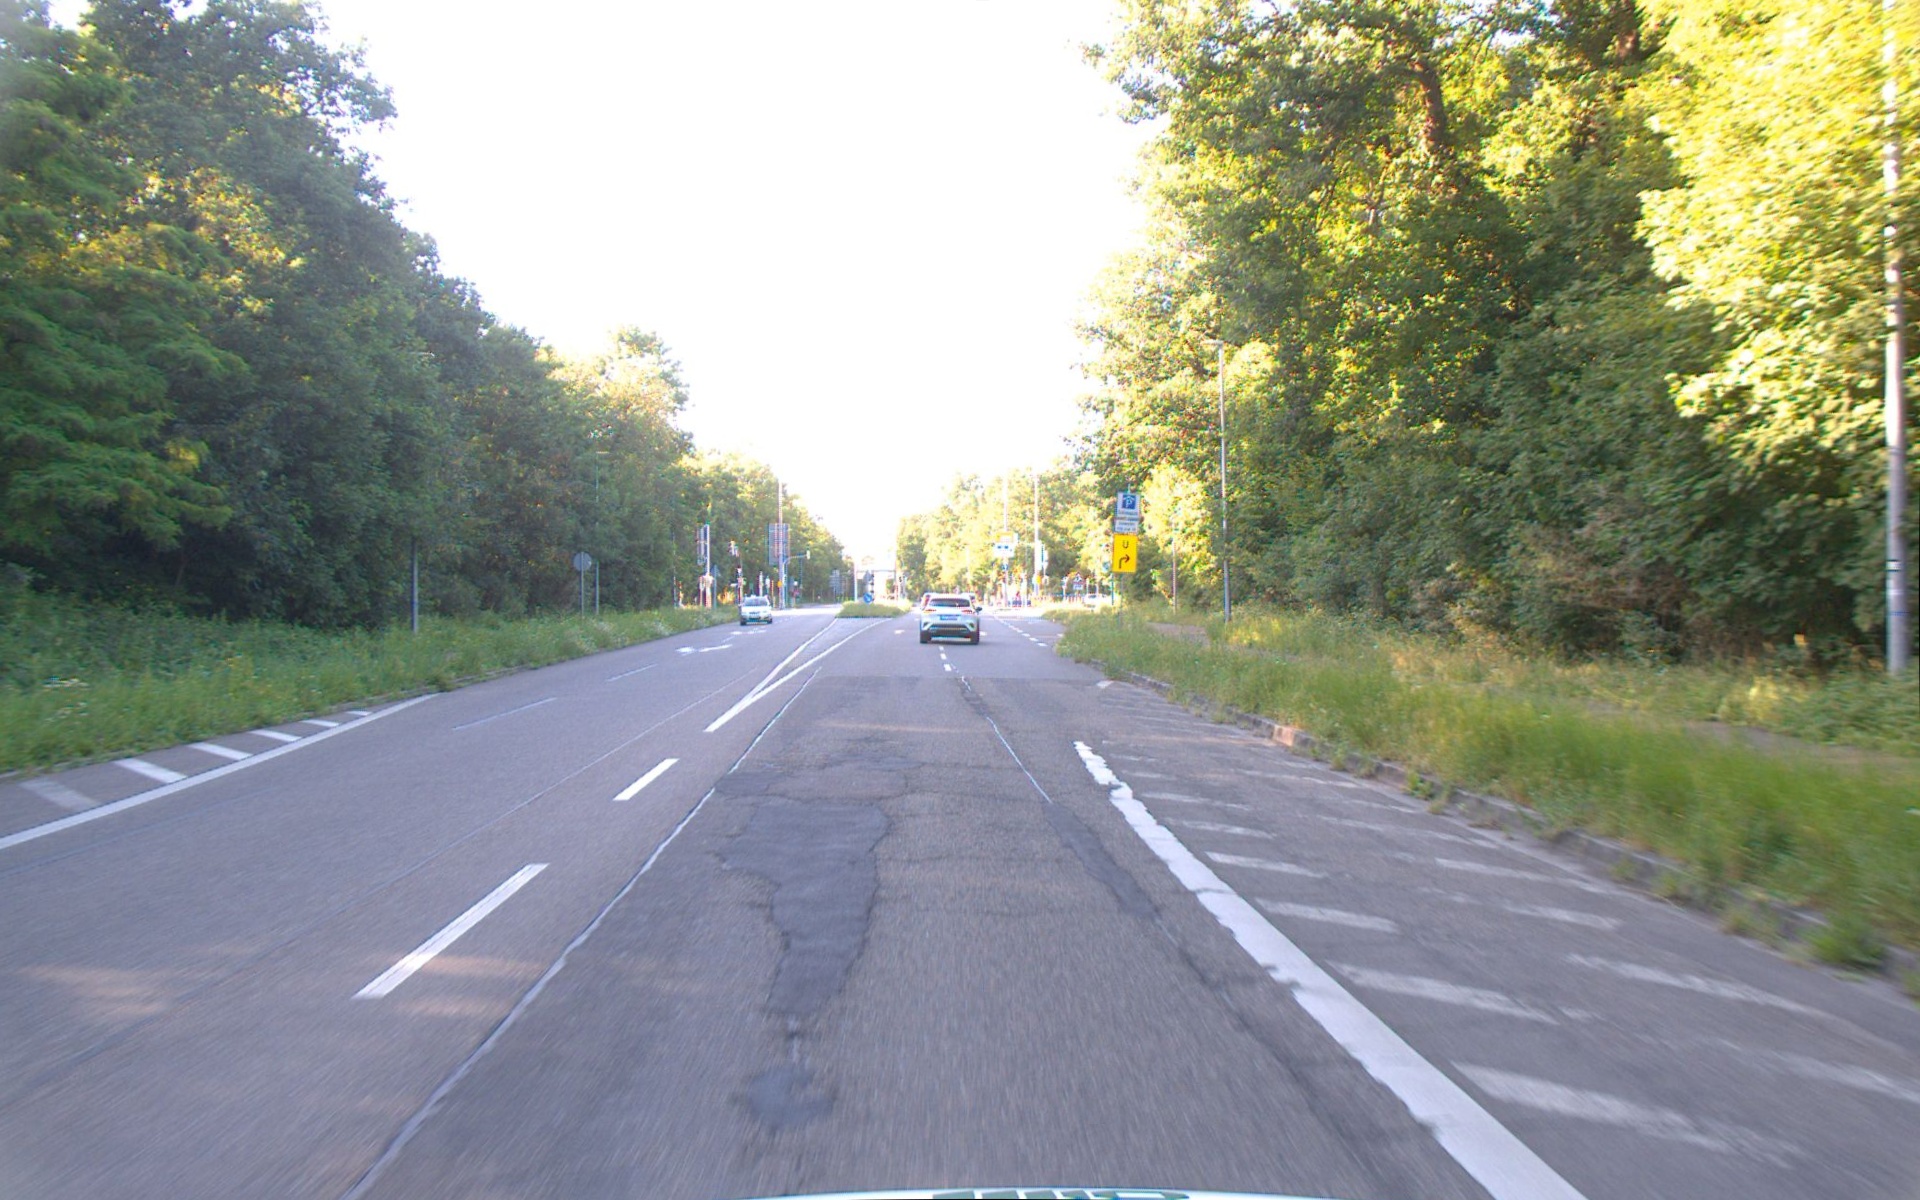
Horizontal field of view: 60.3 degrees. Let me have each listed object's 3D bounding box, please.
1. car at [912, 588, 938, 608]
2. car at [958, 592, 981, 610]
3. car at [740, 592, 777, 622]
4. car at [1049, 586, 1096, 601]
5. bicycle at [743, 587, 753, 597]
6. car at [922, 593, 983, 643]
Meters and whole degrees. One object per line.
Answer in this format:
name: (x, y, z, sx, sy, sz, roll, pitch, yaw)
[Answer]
car: (-3.002, -0.173, 142.000, 1.954, 1.714, 3.996, -1, 1, -5)
car: (0.769, 0.084, 134.311, 1.900, 1.439, 4.000, -1, 1, 0)
car: (-11.024, 0.382, 90.681, 1.793, 1.480, 4.477, -3, 1, -4)
car: (12.102, -0.686, 177.775, 4.751, 1.608, 1.987, -1, 1, -23)
bicycle: (-21.563, -0.845, 167.988, 0.700, 0.930, 1.912, 0, 1, 3)
car: (-0.236, 0.533, 51.709, 1.825, 1.469, 4.000, 0, 1, -1)
